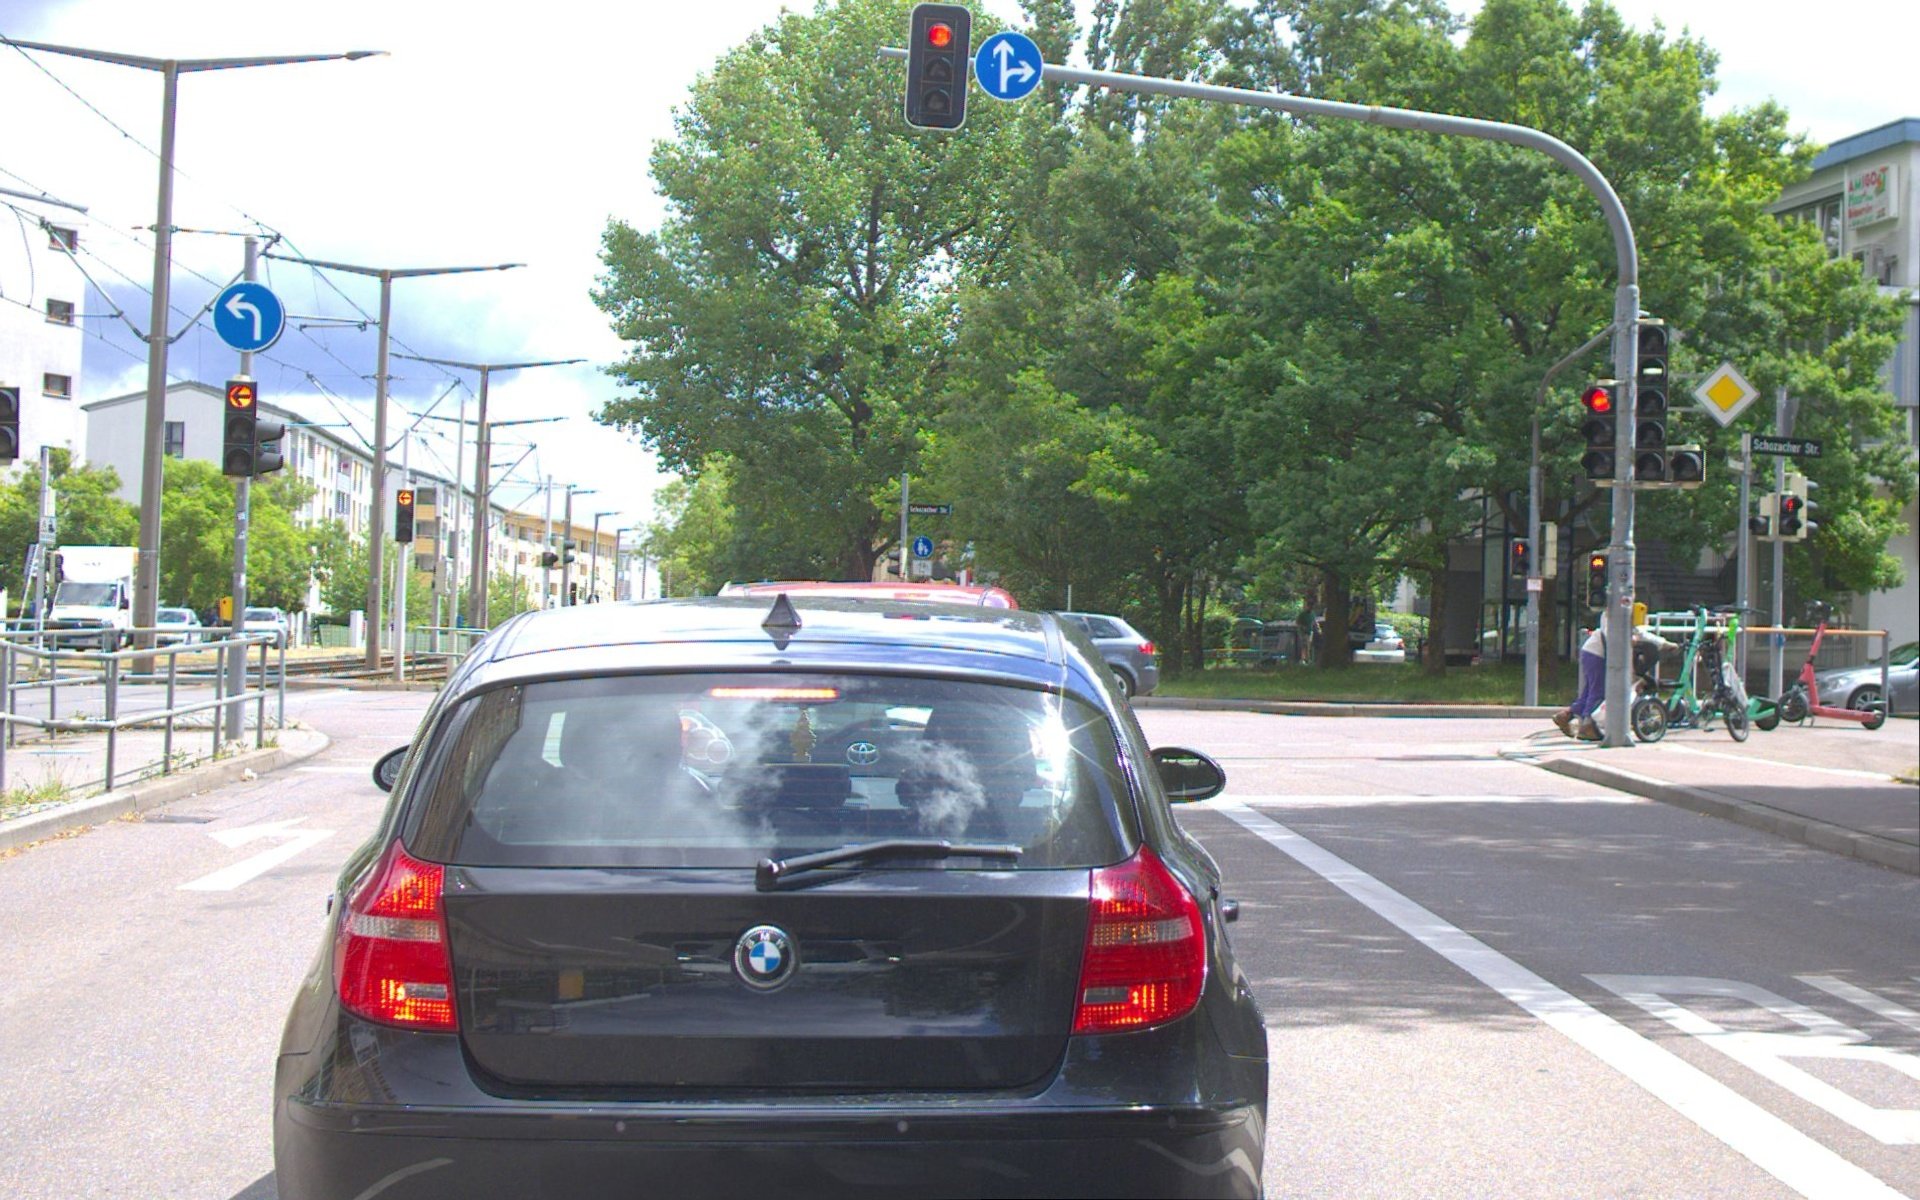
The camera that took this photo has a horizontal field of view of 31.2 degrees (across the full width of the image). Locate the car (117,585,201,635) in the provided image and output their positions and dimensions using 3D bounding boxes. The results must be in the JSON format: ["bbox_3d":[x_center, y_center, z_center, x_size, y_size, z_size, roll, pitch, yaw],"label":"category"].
[{"bbox_3d":[-26.442,0.322,113.580,1.966,1.590,4.000,1,0,-3],"label":"car"}]

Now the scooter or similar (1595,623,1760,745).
[{"bbox_3d":[6.444,0.739,30.828,1.781,1.047,0.410,0,1,-39],"label":"scooter or similar"}]

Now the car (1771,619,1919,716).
[{"bbox_3d":[14.569,1.018,51.615,4.322,1.389,1.713,1,0,-8],"label":"car"}]

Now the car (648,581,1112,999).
[{"bbox_3d":[-0.273,0.652,13.721,1.594,1.414,3.517,1,1,0],"label":"car"}]

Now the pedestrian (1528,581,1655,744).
[{"bbox_3d":[5.702,0.549,31.048,0.866,1.438,0.797,1,0,35],"label":"pedestrian"}]

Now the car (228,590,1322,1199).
[{"bbox_3d":[-0.250,0.710,6.983,1.654,1.414,3.517,1,1,1],"label":"car"}]

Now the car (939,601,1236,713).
[{"bbox_3d":[1.803,0.806,49.253,3.986,1.521,1.676,1,0,-8],"label":"car"}]

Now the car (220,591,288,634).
[{"bbox_3d":[-27.474,0.460,133.961,1.966,1.590,4.000,1,0,-3],"label":"car"}]

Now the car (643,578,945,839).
[{"bbox_3d":[-0.984,0.595,20.844,1.654,1.414,3.517,1,1,-2],"label":"car"}]

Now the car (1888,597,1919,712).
[{"bbox_3d":[15.141,0.783,48.434,3.576,1.595,1.712,1,0,-12],"label":"car"}]

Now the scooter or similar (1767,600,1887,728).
[{"bbox_3d":[8.584,0.631,34.042,1.106,1.253,0.332,0,0,-12],"label":"scooter or similar"}]

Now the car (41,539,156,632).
[{"bbox_3d":[-25.265,-0.430,101.002,2.139,2.631,5.359,1,0,-2],"label":"car"}]

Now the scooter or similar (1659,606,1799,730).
[{"bbox_3d":[7.424,0.654,33.191,1.287,1.185,0.385,0,0,-16],"label":"scooter or similar"}]
